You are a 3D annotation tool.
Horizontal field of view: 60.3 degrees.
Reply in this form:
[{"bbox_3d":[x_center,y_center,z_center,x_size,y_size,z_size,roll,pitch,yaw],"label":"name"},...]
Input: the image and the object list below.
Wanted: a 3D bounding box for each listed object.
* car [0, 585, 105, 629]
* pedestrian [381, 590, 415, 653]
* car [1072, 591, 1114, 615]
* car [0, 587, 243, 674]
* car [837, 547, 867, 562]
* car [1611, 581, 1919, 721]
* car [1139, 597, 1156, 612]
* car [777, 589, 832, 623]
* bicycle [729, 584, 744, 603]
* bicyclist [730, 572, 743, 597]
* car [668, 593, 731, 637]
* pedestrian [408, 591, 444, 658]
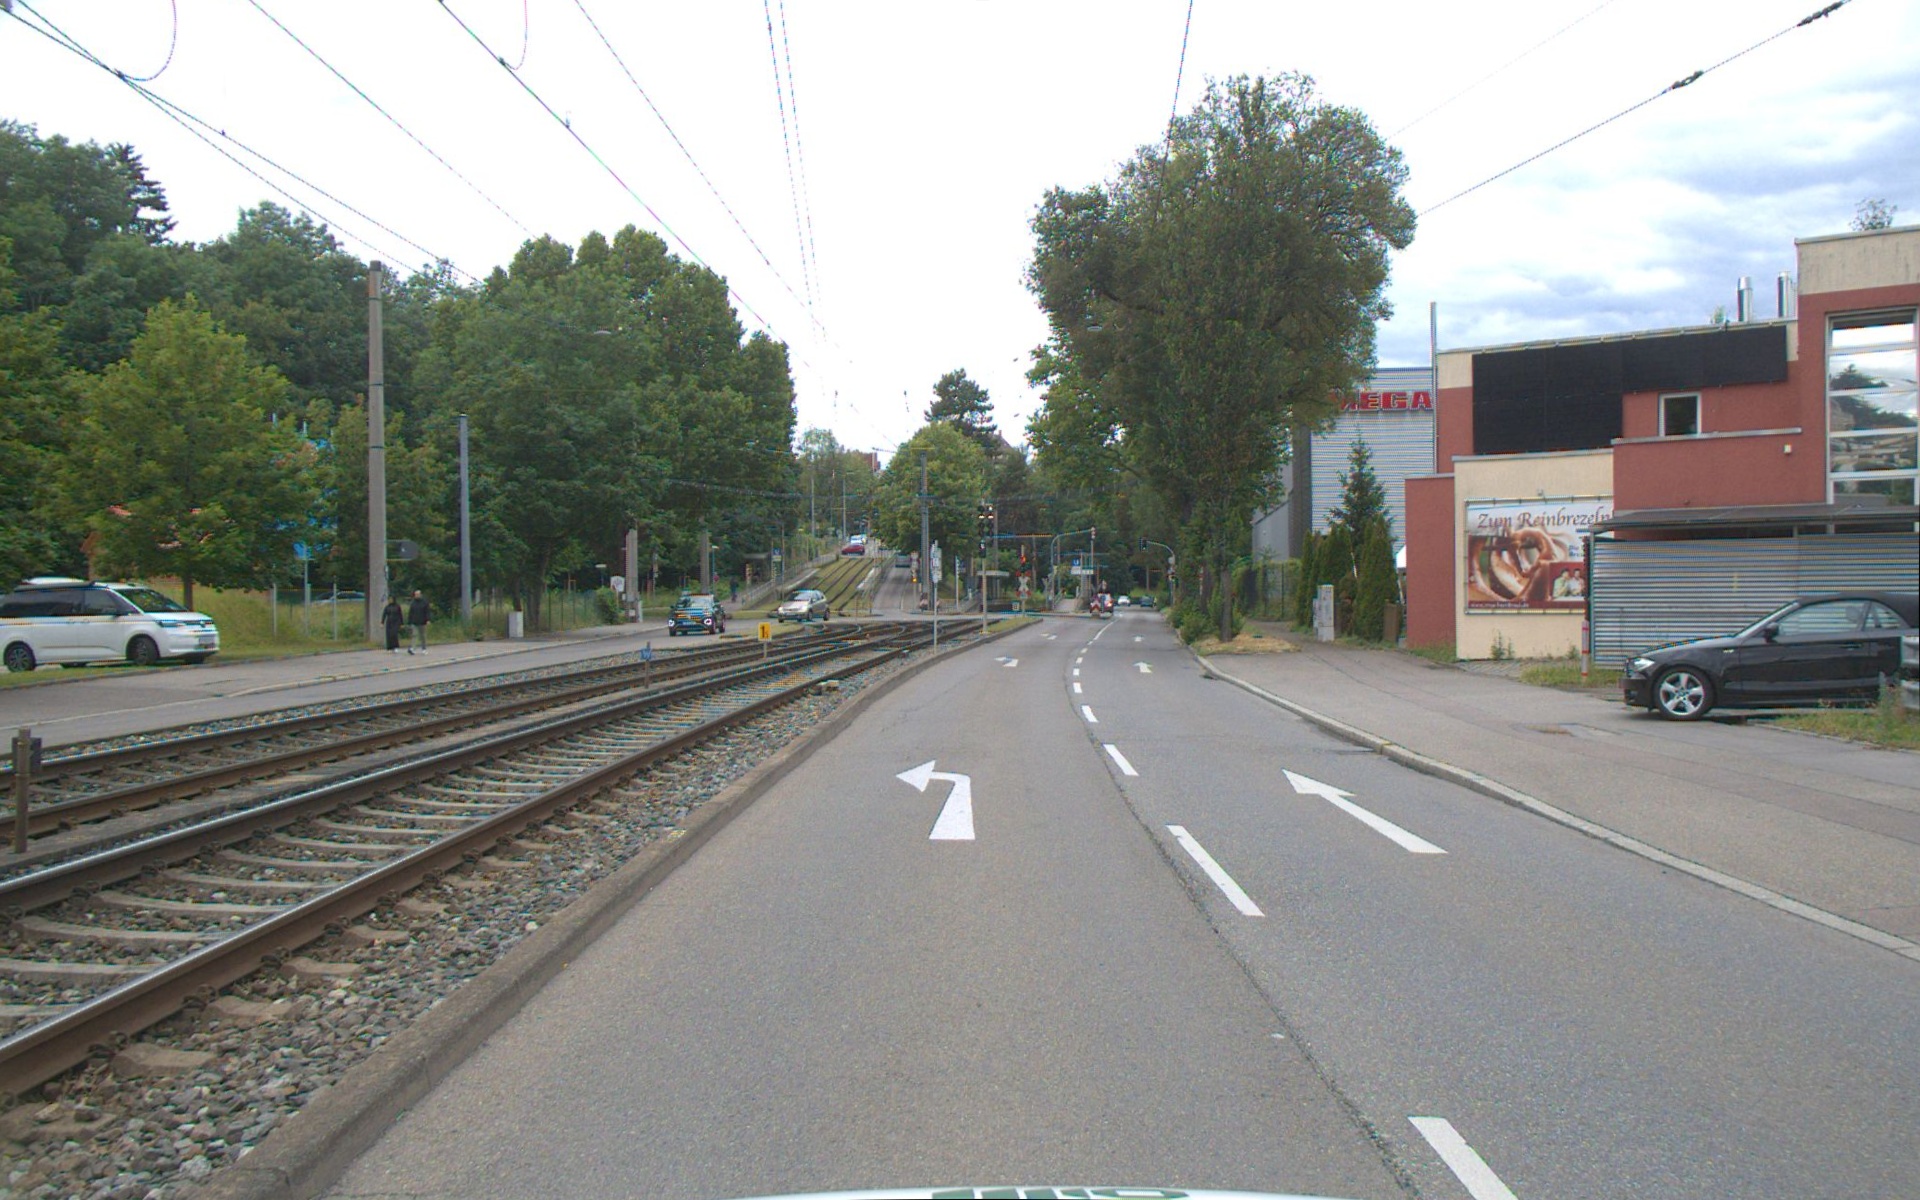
[{"bbox_3d":[-44.410,0.332,80.776,1.957,2.049,4.393,0,0,31],"label":"car"},{"bbox_3d":[-15.779,0.597,46.427,0.615,1.743,0.856,1,0,3],"label":"pedestrian"},{"bbox_3d":[8.781,0.213,109.143,1.951,1.542,4.504,0,0,15],"label":"car"},{"bbox_3d":[-19.244,0.674,37.652,4.948,1.921,2.168,0,0,10],"label":"car"},{"bbox_3d":[-15.459,-6.542,237.818,3.901,2.049,2.002,-1,0,11],"label":"car"},{"bbox_3d":[9.815,0.540,19.040,4.139,1.468,1.761,1,1,28],"label":"car"},{"bbox_3d":[24.870,0.603,219.201,1.952,1.847,4.001,-1,0,3],"label":"car"},{"bbox_3d":[-8.067,0.294,86.214,1.850,1.558,4.260,-4,0,7],"label":"car"},{"bbox_3d":[-17.046,-0.489,126.182,0.807,1.367,2.995,-1,0,-2],"label":"bicycle"},{"bbox_3d":[-17.031,-1.163,125.974,0.804,1.881,1.051,-1,0,-2],"label":"bicyclist"},{"bbox_3d":[-10.103,0.556,64.432,1.652,1.558,4.256,-4,0,0],"label":"car"},{"bbox_3d":[-14.962,0.665,46.328,0.662,1.845,0.856,1,0,3],"label":"pedestrian"}]
